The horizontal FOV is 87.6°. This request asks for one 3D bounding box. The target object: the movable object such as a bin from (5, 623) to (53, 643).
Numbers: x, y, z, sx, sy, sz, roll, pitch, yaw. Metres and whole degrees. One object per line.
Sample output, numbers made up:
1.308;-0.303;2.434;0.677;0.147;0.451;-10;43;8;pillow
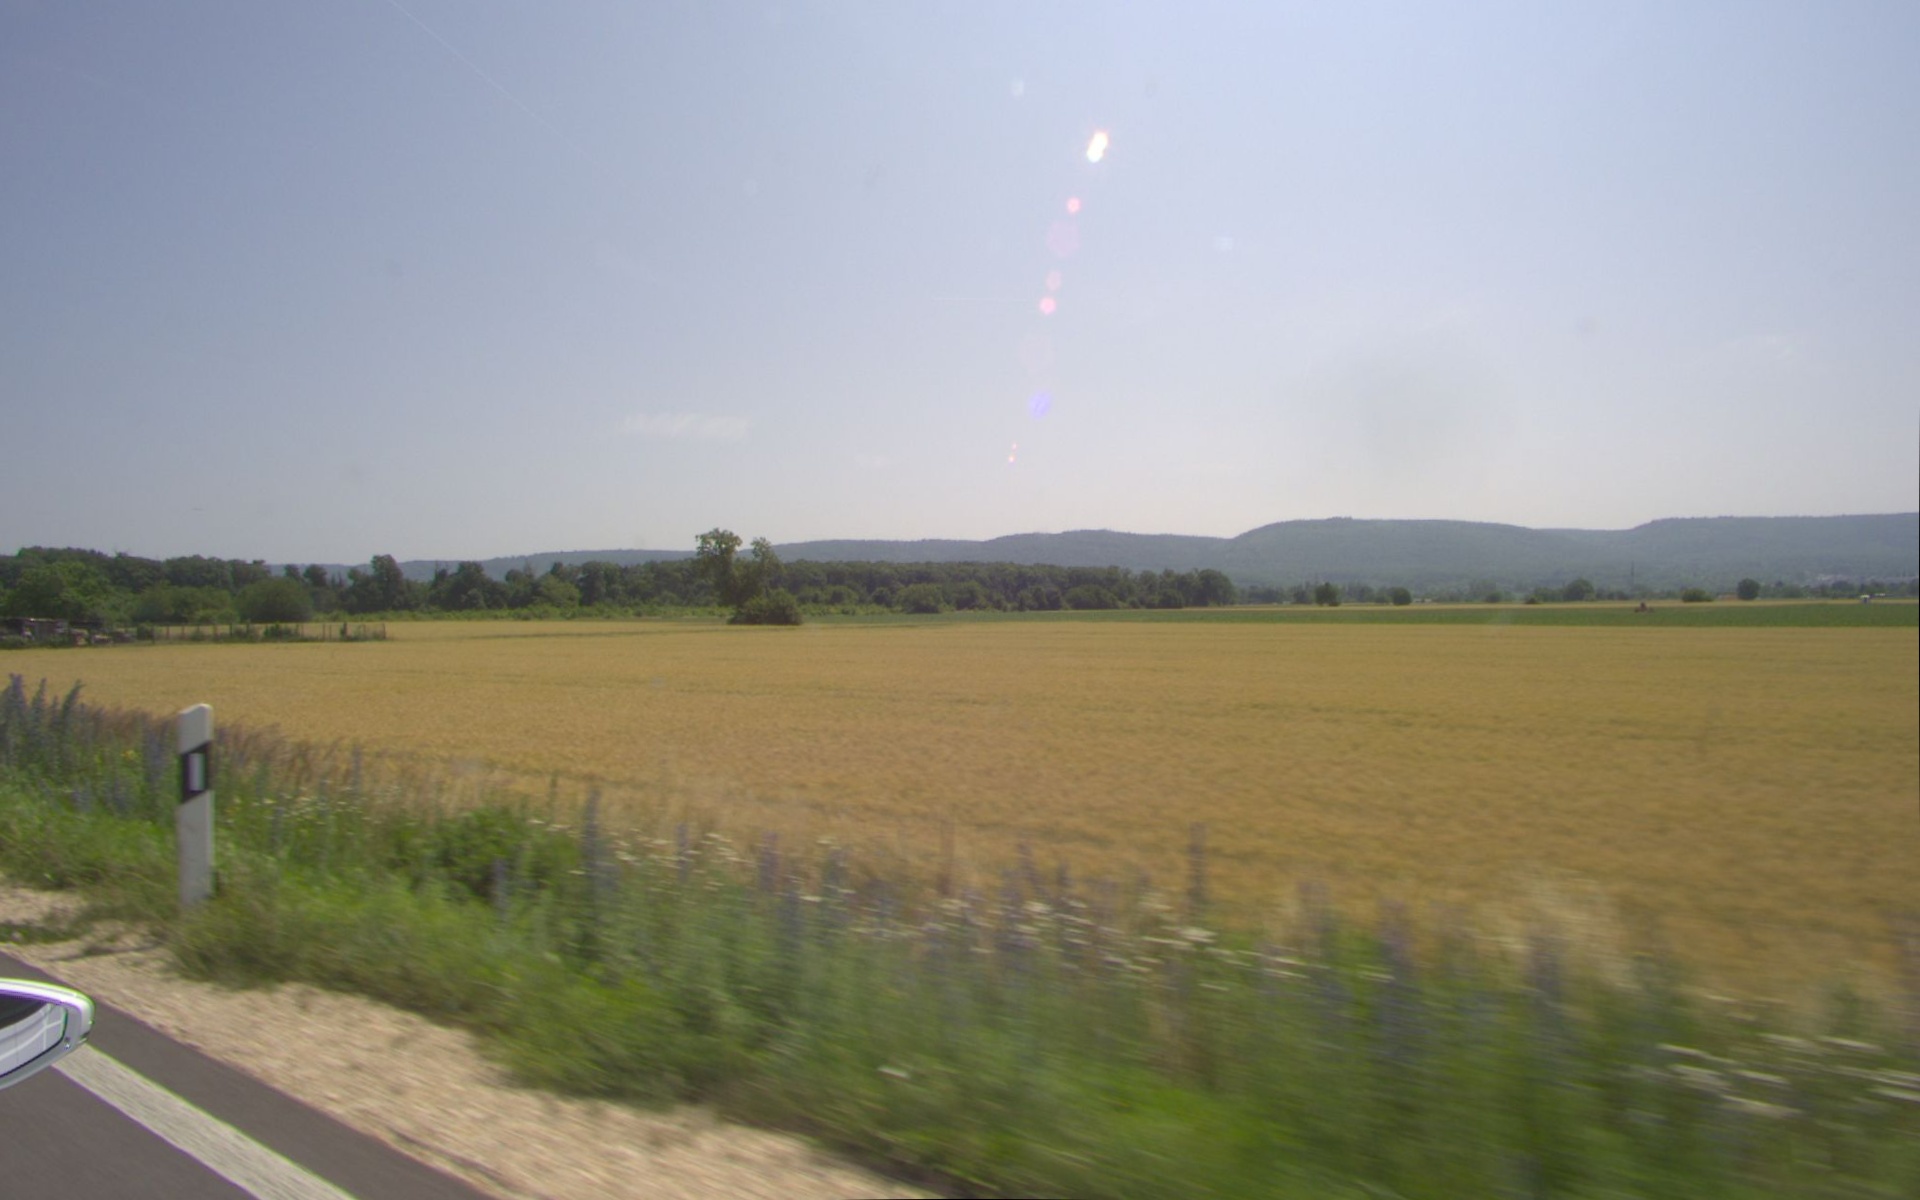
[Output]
-70.950;2.494;76.298;3.602;1.516;1.570;-1;-1;28;movable object such as a bin
